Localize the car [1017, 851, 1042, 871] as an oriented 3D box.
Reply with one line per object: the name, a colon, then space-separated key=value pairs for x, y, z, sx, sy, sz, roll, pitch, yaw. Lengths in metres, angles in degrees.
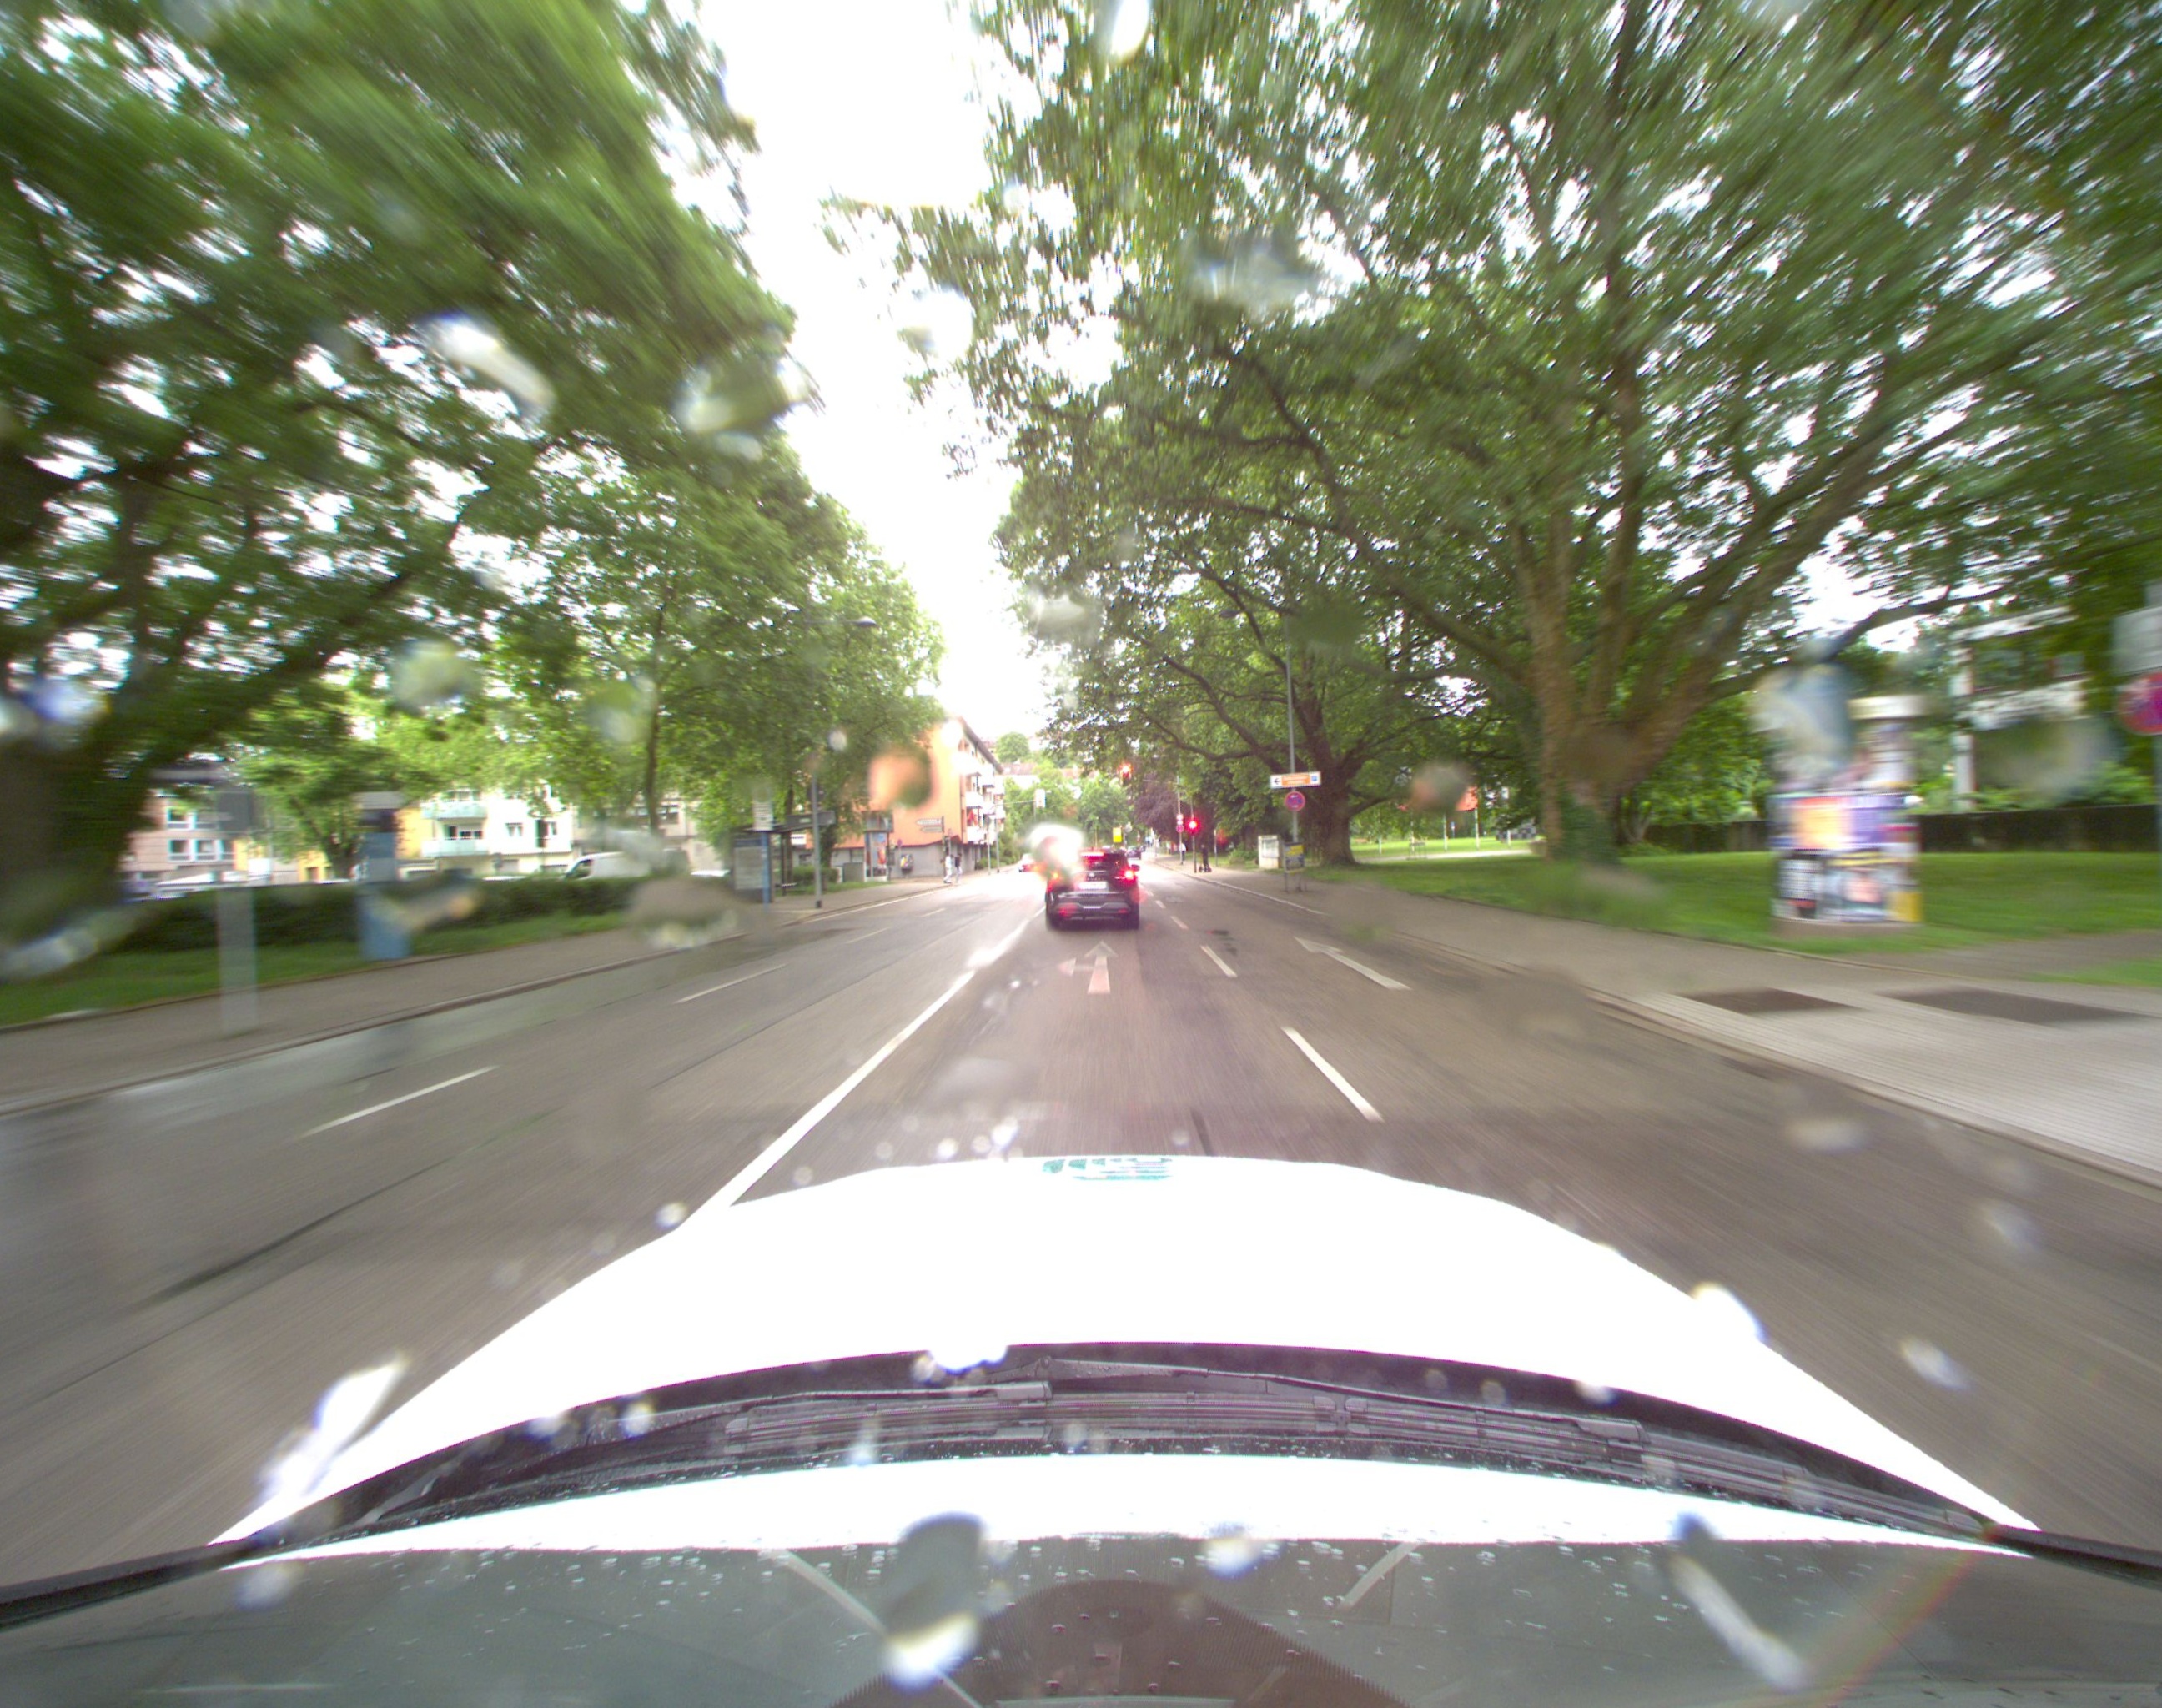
car: x=-4.228 y=0.528 z=67.347 sx=1.791 sy=1.533 sz=3.864 roll=-3 pitch=0 yaw=-2

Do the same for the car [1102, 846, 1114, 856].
car: x=4.124 y=-0.465 z=123.856 sx=1.628 sy=1.532 sz=3.969 roll=-3 pitch=0 yaw=2

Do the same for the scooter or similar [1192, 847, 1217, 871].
scooter or similar: x=7.553 y=0.314 z=49.650 sx=1.384 sy=1.446 sz=0.820 roll=-2 pitch=-1 yaw=13

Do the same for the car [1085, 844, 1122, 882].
car: x=1.114 y=0.409 z=40.434 sx=1.692 sy=1.745 sz=3.642 roll=-3 pitch=0 yaw=2

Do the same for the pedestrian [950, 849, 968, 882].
pedestrian: x=-7.071 y=0.672 z=47.283 sx=1.035 sy=1.876 sz=0.656 roll=-1 pitch=0 yaw=-10

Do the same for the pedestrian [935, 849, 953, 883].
pedestrian: x=-7.822 y=0.670 z=46.482 sx=1.035 sy=1.876 sz=0.656 roll=-1 pitch=0 yaw=-10

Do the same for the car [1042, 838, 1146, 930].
car: x=0.302 y=0.535 z=17.115 sx=1.906 sy=1.680 sz=4.002 roll=-1 pitch=0 yaw=2

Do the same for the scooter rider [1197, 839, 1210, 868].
scooter rider: x=7.456 y=-0.014 z=49.659 sx=0.639 sy=1.766 sz=0.738 roll=-2 pitch=-1 yaw=13

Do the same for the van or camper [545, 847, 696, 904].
van or camper: x=-17.606 y=0.801 z=31.307 sx=4.582 sy=1.949 sz=1.999 roll=-2 pitch=0 yaw=-1

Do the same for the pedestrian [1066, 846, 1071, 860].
pedestrian: x=-1.649 y=-0.121 z=106.077 sx=0.506 sy=1.802 sz=0.620 roll=-3 pitch=0 yaw=1

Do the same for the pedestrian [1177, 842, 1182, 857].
pedestrian: x=9.898 y=-0.416 z=82.203 sx=0.388 sy=1.502 sz=0.559 roll=-3 pitch=0 yaw=1

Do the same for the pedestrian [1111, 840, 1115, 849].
pedestrian: x=6.403 y=-1.833 z=161.212 sx=0.503 sy=1.673 sz=0.663 roll=-3 pitch=0 yaw=29

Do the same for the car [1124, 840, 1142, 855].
car: x=6.118 y=-0.711 z=95.352 sx=1.983 sy=1.734 sz=4.007 roll=0 pitch=0 yaw=6

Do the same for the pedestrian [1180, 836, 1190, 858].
pedestrian: x=9.943 y=-0.644 z=77.796 sx=0.722 sy=2.013 sz=0.852 roll=-3 pitch=0 yaw=1
